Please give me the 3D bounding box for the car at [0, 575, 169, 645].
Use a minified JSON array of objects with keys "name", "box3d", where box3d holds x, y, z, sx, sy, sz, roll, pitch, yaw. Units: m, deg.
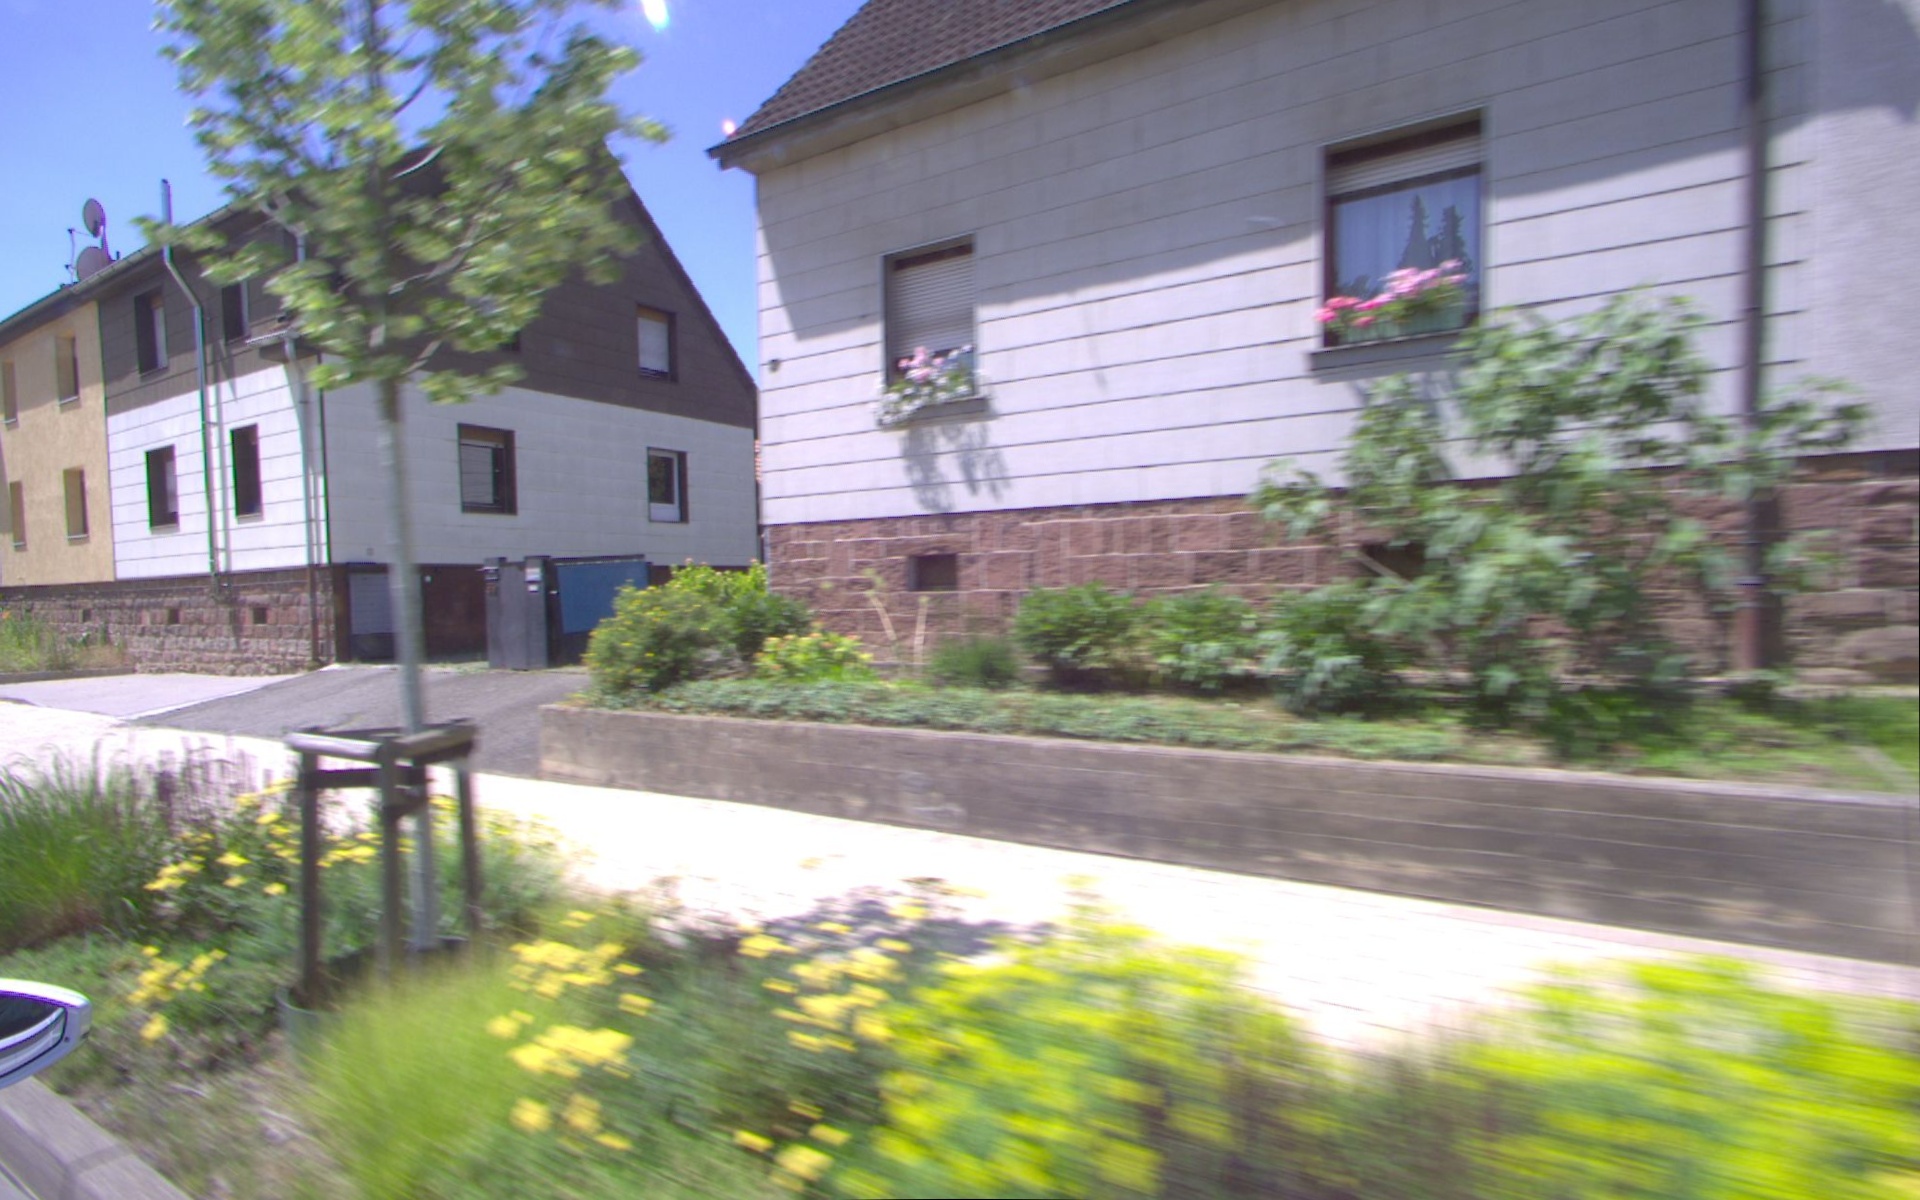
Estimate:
[{"name":"car","box3d":[-25.161,0.241,28.272,1.847,1.700,3.977,-1,3,31]}]
